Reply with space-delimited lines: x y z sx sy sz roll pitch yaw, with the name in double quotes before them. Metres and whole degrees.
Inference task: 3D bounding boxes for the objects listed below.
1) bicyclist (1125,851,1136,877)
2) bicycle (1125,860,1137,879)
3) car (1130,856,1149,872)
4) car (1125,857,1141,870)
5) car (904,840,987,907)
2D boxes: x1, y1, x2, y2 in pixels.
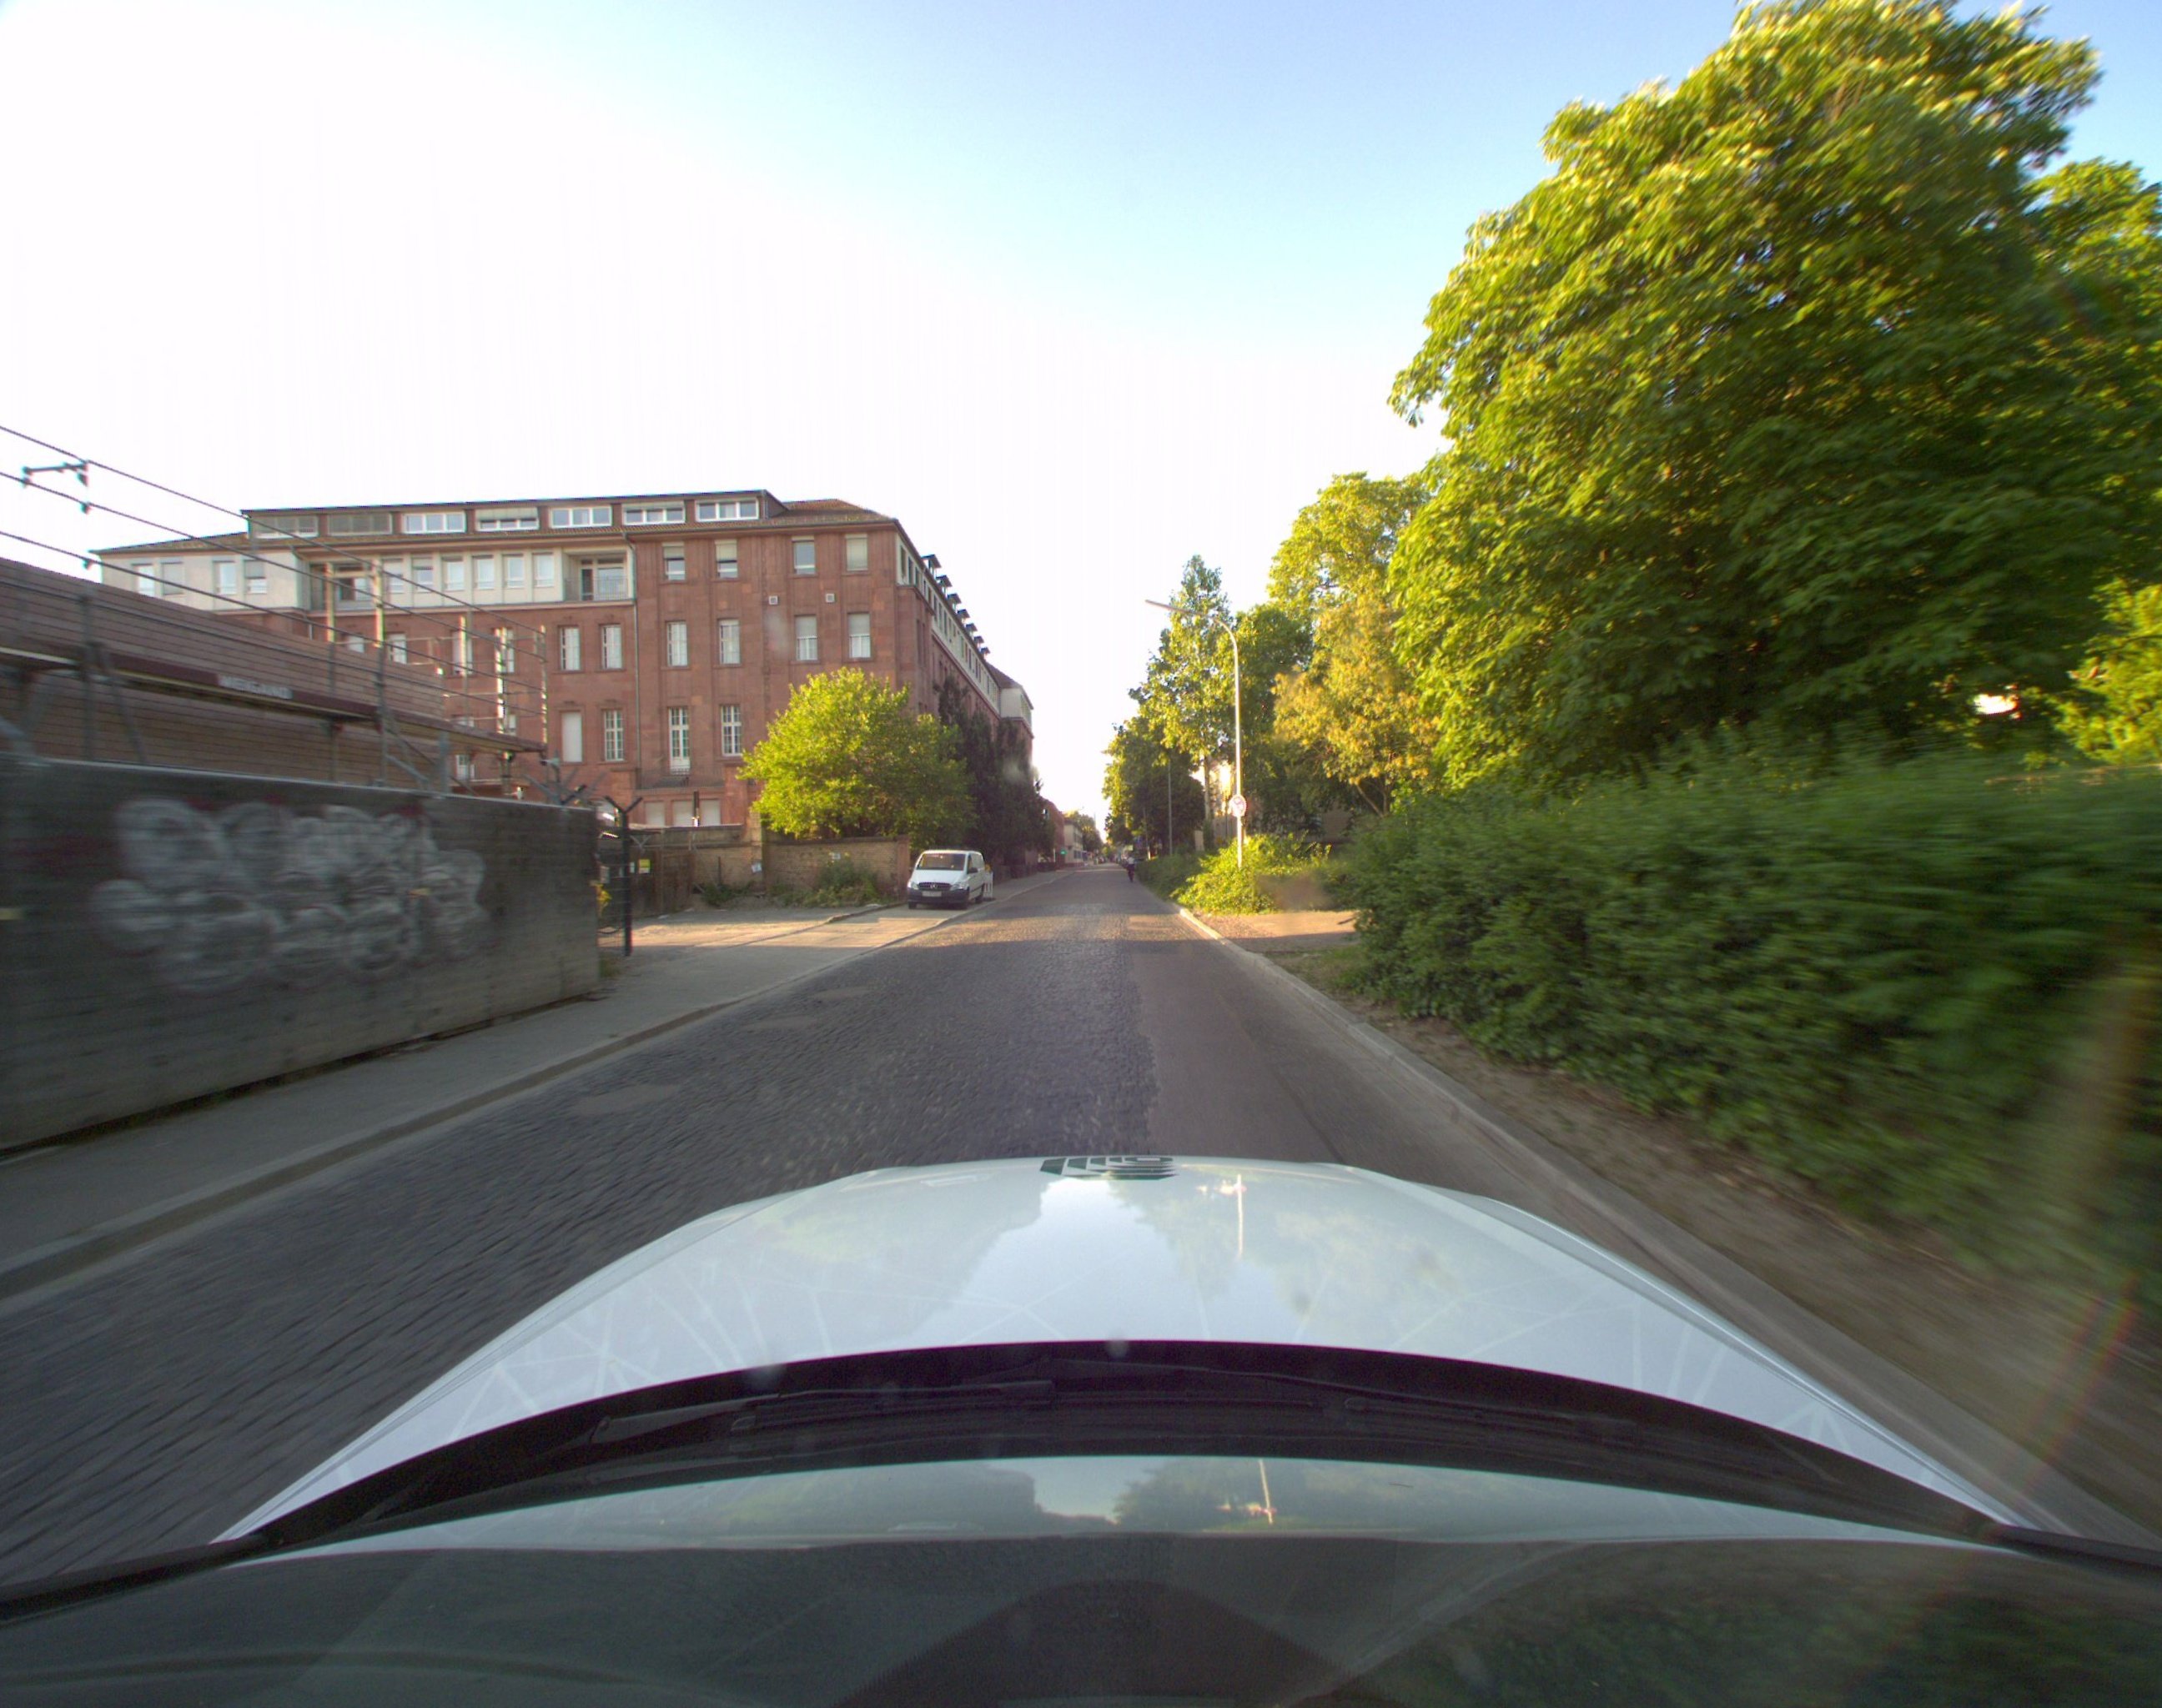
"bicyclist" 3.142 0.623 51.892 0.637 1.667 0.842 -1 -1 0
"bicycle" 3.151 0.958 51.879 0.636 1.193 1.876 -1 -1 0
"car" 6.163 1.058 86.458 1.680 1.447 3.671 -5 -1 0
"car" 6.391 1.200 100.223 1.710 1.538 4.048 -2 0 0
"car" -4.424 0.653 27.419 1.876 2.014 5.225 -1 -1 0
